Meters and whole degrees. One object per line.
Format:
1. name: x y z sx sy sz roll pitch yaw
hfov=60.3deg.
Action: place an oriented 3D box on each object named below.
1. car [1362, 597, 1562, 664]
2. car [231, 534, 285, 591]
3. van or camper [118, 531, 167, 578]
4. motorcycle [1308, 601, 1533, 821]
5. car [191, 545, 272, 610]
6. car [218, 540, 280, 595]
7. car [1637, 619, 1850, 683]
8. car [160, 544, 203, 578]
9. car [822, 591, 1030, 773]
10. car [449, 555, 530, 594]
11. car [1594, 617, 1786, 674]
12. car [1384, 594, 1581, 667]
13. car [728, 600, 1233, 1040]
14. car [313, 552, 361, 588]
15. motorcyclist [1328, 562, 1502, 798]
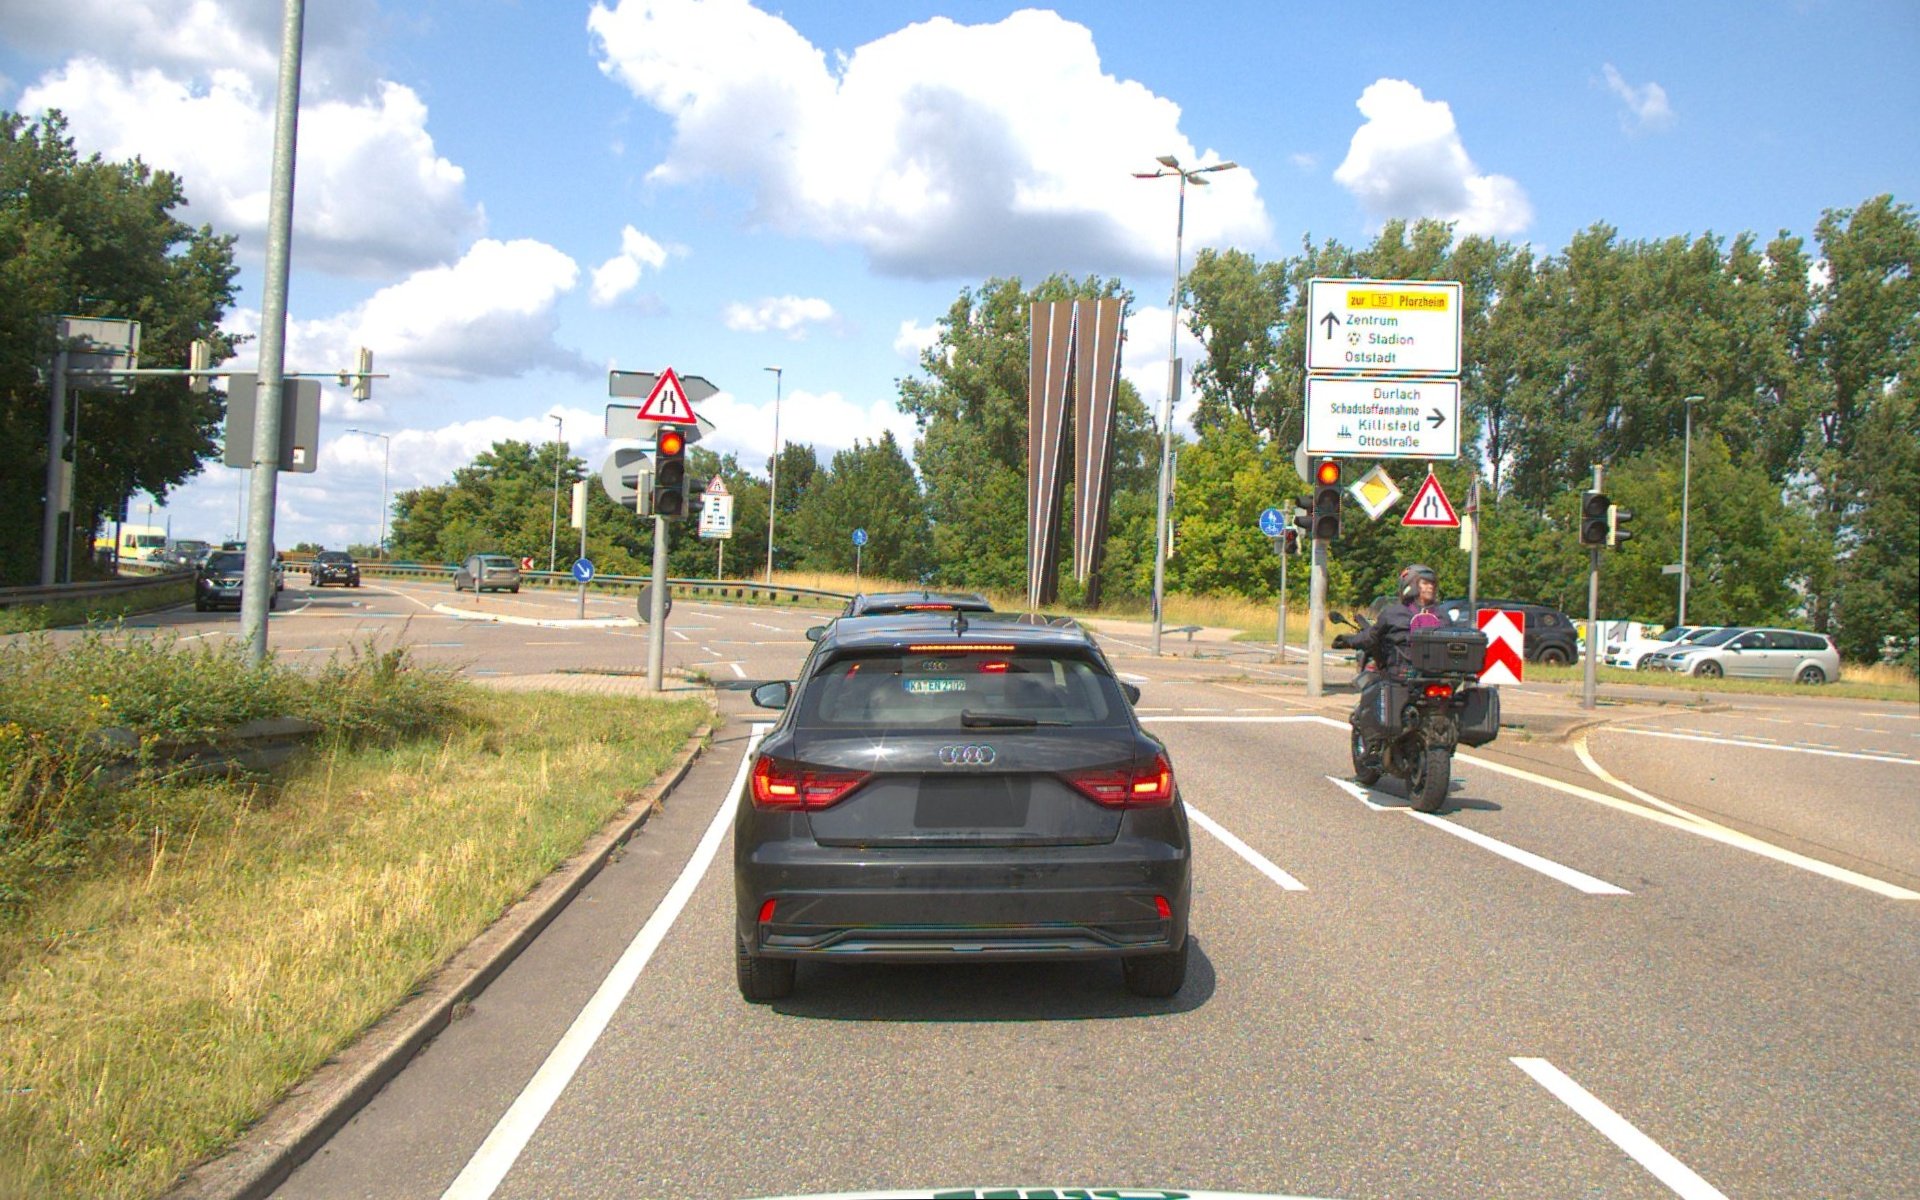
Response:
1. car: 13.292 0.786 43.937 4.750 1.572 1.736 2 0 -2
2. car: -28.214 -1.492 66.407 1.819 2.137 4.293 2 0 -24
3. van or camper: -50.367 -2.787 101.850 1.974 2.730 6.788 2 0 -32
4. motorcycle: 3.283 0.734 12.085 0.918 1.407 2.369 2 0 -1
5. car: -19.880 -0.569 45.263 1.813 1.646 3.974 2 -1 -21
6. car: -25.369 -1.144 59.106 1.817 1.833 4.299 2 0 -22
7. car: 19.071 1.231 40.349 4.384 1.343 1.735 2 0 -4
8. car: -42.132 -2.086 89.506 1.823 1.735 4.286 2 0 -29
9. car: -0.433 0.649 15.331 1.692 1.448 3.841 0 1 -5
10. car: -19.815 -1.071 69.581 1.978 1.522 4.067 2 0 -36
11. car: 19.513 1.204 44.301 4.404 1.304 1.736 2 0 -4
12. car: 12.610 0.724 40.072 4.182 1.572 1.736 2 0 -2
13. car: 0.040 0.733 7.538 1.691 1.429 3.999 0 1 -1
14. car: -27.966 -1.354 74.162 1.709 1.522 4.015 2 0 -25
15. motorcyclist: 3.291 0.557 12.073 0.918 1.618 1.083 2 0 -1
